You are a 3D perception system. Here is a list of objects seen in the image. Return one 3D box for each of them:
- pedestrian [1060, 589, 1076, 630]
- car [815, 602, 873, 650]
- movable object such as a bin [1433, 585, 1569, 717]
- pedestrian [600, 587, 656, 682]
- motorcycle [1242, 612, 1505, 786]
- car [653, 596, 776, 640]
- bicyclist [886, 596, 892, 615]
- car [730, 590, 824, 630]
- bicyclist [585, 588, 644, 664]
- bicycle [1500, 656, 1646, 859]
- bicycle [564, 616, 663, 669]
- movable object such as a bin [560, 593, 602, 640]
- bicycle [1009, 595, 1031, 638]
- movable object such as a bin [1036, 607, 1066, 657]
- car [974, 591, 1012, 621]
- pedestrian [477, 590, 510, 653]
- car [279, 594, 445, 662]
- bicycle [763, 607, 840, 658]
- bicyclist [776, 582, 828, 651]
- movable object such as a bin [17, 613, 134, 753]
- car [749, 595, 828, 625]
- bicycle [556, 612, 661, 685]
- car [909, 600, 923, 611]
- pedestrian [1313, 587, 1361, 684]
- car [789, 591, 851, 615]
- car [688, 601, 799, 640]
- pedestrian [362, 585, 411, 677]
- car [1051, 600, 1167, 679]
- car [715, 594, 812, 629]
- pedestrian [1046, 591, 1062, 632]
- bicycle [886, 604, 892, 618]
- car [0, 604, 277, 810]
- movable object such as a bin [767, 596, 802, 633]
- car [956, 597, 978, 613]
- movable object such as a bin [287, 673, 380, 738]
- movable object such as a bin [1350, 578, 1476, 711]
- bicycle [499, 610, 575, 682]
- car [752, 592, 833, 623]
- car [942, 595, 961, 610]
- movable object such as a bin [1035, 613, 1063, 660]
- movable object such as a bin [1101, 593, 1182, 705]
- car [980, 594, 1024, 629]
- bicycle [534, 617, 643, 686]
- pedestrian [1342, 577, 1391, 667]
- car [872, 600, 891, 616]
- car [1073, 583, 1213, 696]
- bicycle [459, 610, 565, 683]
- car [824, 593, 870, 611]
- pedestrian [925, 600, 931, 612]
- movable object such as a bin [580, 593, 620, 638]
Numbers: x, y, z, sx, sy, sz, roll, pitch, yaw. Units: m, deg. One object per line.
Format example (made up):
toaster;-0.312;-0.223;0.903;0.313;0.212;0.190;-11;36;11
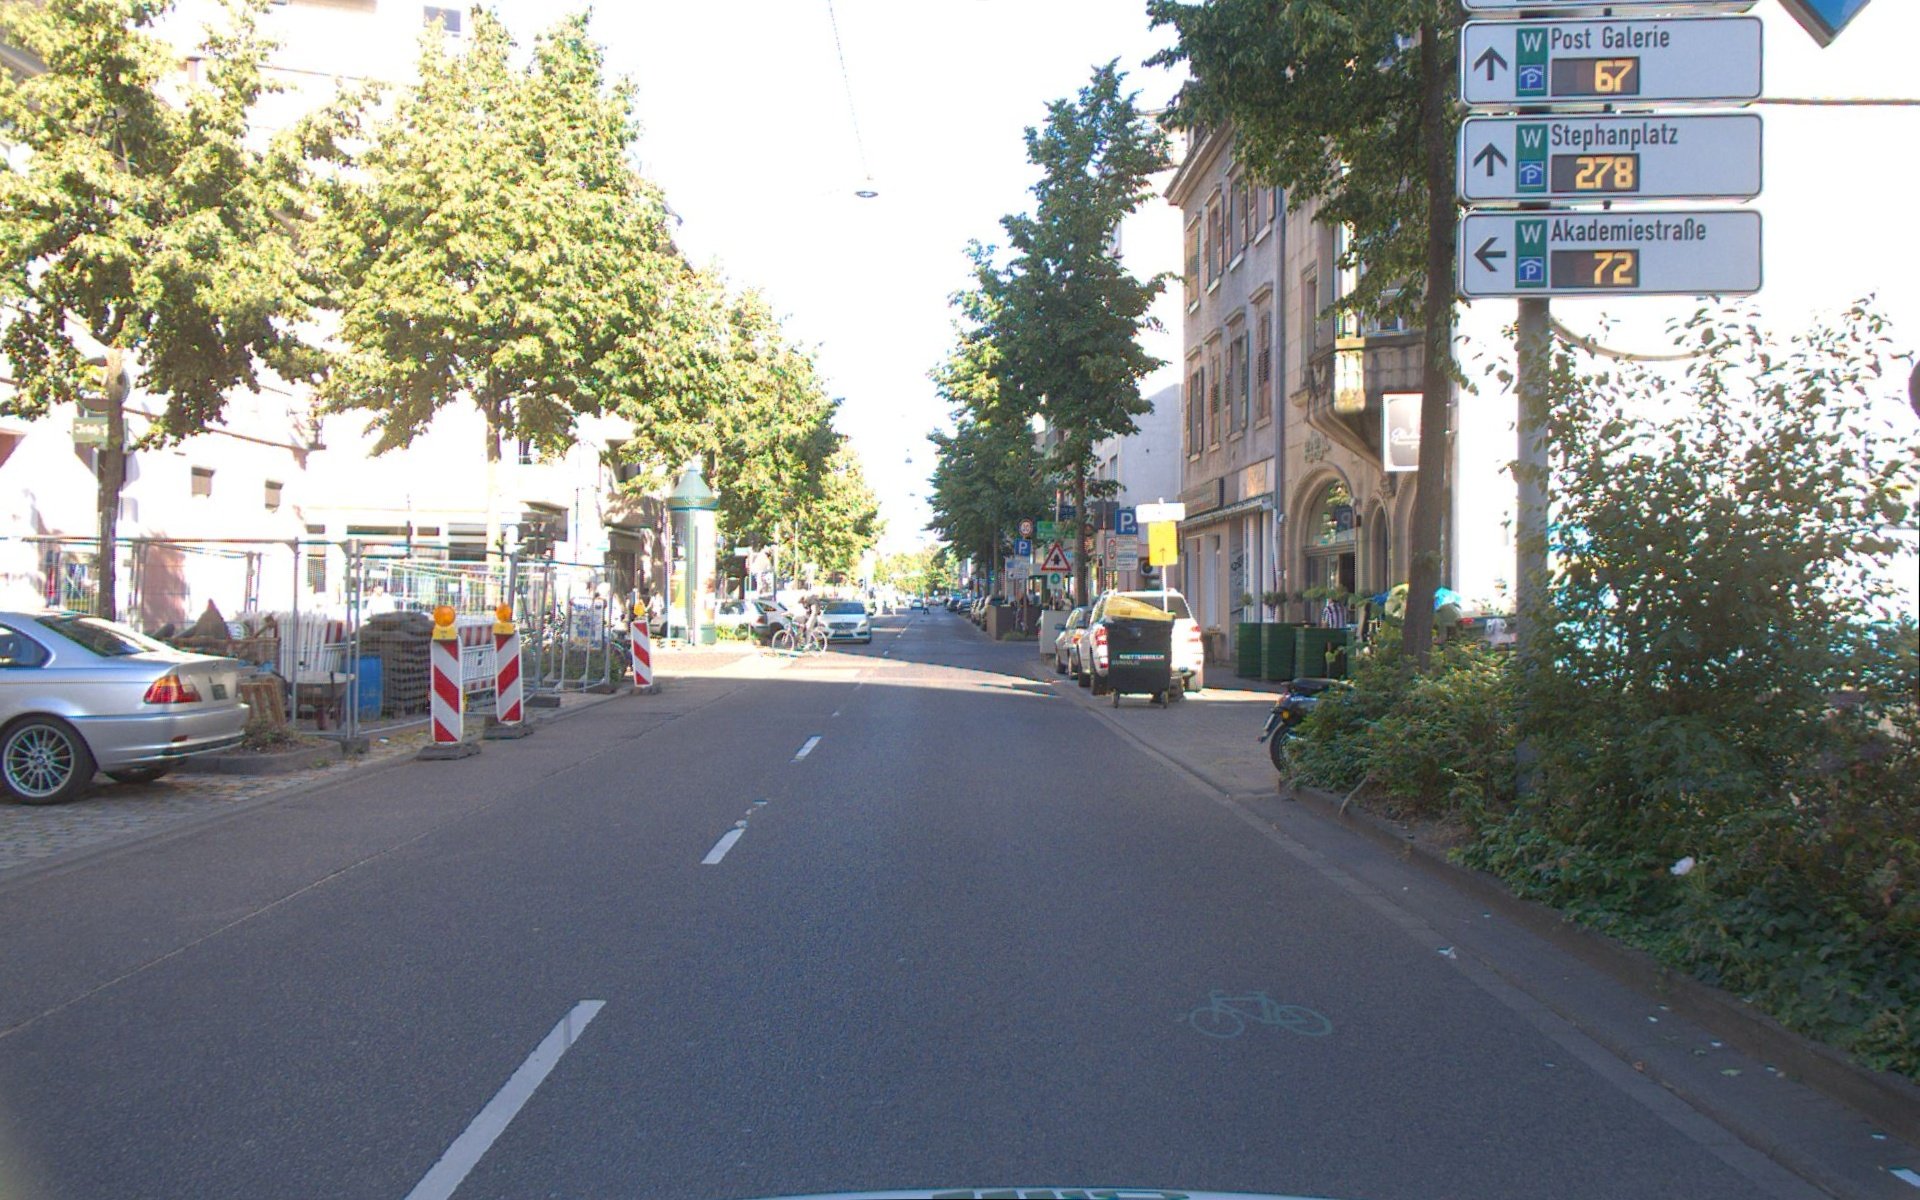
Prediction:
pedestrian;4.493;0.396;68.814;0.537;1.678;0.663;0;0;-10
car;-3.942;0.868;56.967;1.766;1.460;4.408;-3;0;-2
movable object such as a bin;6.625;0.605;20.320;1.245;1.557;1.176;-1;0;-3
pedestrian;-6.177;0.633;30.752;0.785;1.737;0.758;1;0;-34
motorcycle;3.446;0.792;13.851;1.943;1.353;0.908;-1;0;-14
car;-8.296;0.600;56.182;3.907;1.414;1.999;-1;0;-2
bicyclist;-6.223;0.484;144.734;0.549;1.575;0.728;0;-1;-1
car;-8.257;0.442;74.884;3.903;1.724;2.001;0;0;3
bicyclist;-7.373;0.539;35.312;1.028;1.587;0.760;0;0;-35
bicycle;3.570;0.861;9.568;0.427;1.006;1.667;-1;0;33
bicycle;-7.391;0.894;35.313;1.932;1.077;0.760;-1;0;-35
movable object such as a bin;-12.292;0.524;53.665;1.117;1.511;1.235;0;0;-3
bicycle;2.185;0.589;60.326;0.549;1.465;1.628;-6;0;-1
movable object such as a bin;2.305;0.810;42.118;0.691;1.244;0.680;0;0;-3
car;1.829;0.304;93.360;1.953;1.637;3.999;0;0;-1
pedestrian;-12.603;0.576;44.696;0.757;1.671;0.688;0;0;-9
car;-15.532;0.702;42.982;3.932;1.639;1.986;-1;0;-23
bicycle;-4.033;0.817;42.211;0.709;1.241;2.023;0;0;43
bicyclist;-4.028;0.405;42.216;0.709;1.722;1.150;0;0;43
movable object such as a bin;-8.015;0.736;15.020;0.717;1.207;0.744;-1;0;-10
car;-8.892;0.526;86.041;3.907;1.526;1.999;-1;-1;-2
bicycle;-6.377;0.877;30.071;1.820;1.274;0.599;1;0;-9
car;-5.945;0.793;223.867;1.756;1.436;3.999;0;0;-1
pedestrian;6.234;0.582;27.372;0.598;1.567;0.699;-1;0;-1
car;-9.161;0.214;108.404;3.907;1.526;1.999;-1;0;-2
car;-8.071;0.754;61.975;3.907;1.414;1.999;-1;0;-2
pedestrian;-10.718;0.572;30.945;0.598;1.682;0.813;-1;0;2
car;2.979;0.748;33.814;1.785;1.415;4.299;-3;0;-2
car;-8.556;0.499;72.077;3.903;1.482;1.869;0;0;3
pedestrian;3.888;0.459;68.667;0.537;1.678;0.663;0;0;-9
bicycle;-6.216;0.972;144.714;0.549;1.200;1.628;0;-1;-1
car;-7.808;0.747;12.410;4.588;1.437;1.806;0;0;-4
movable object such as a bin;-7.276;0.611;68.669;1.307;1.504;1.480;0;0;-2
car;0.659;0.536;161.337;1.953;1.534;3.999;0;-1;-2
movable object such as a bin;-6.795;1.134;17.977;0.615;0.627;1.077;-1;0;-1
movable object such as a bin;5.909;0.557;21.672;1.181;1.656;1.497;-1;0;-3
bicycle;-7.927;0.840;30.961;0.595;1.274;1.765;1;0;-43
car;-8.459;0.371;83.696;3.907;1.526;1.999;-1;0;-2
car;-0.955;0.297;180.829;1.953;1.534;3.999;0;-1;-2
movable object such as a bin;2.311;0.941;42.860;0.646;1.200;0.739;0;0;-3
movable object such as a bin;2.674;0.694;24.262;1.118;1.589;1.460;-1;0;7
car;1.994;0.527;79.989;1.953;1.637;3.999;0;0;-1
bicycle;-6.591;0.911;29.393;1.820;1.191;0.599;1;0;-9
pedestrian;7.349;0.396;29.918;0.683;1.593;0.612;-1;0;-2
car;-7.640;0.748;160.923;1.785;1.415;4.299;-3;0;-2
car;3.057;0.621;28.496;1.785;1.708;4.600;-3;0;-1
bicycle;-8.082;0.830;29.857;1.749;1.274;0.601;1;0;10
car;-9.719;0.164;142.587;3.907;1.526;1.999;-1;0;-2
pedestrian;-3.033;0.563;156.150;0.534;1.044;0.546;-1;0;-3
movable object such as a bin;-12.339;0.531;56.751;1.148;1.511;1.314;0;0;-3
